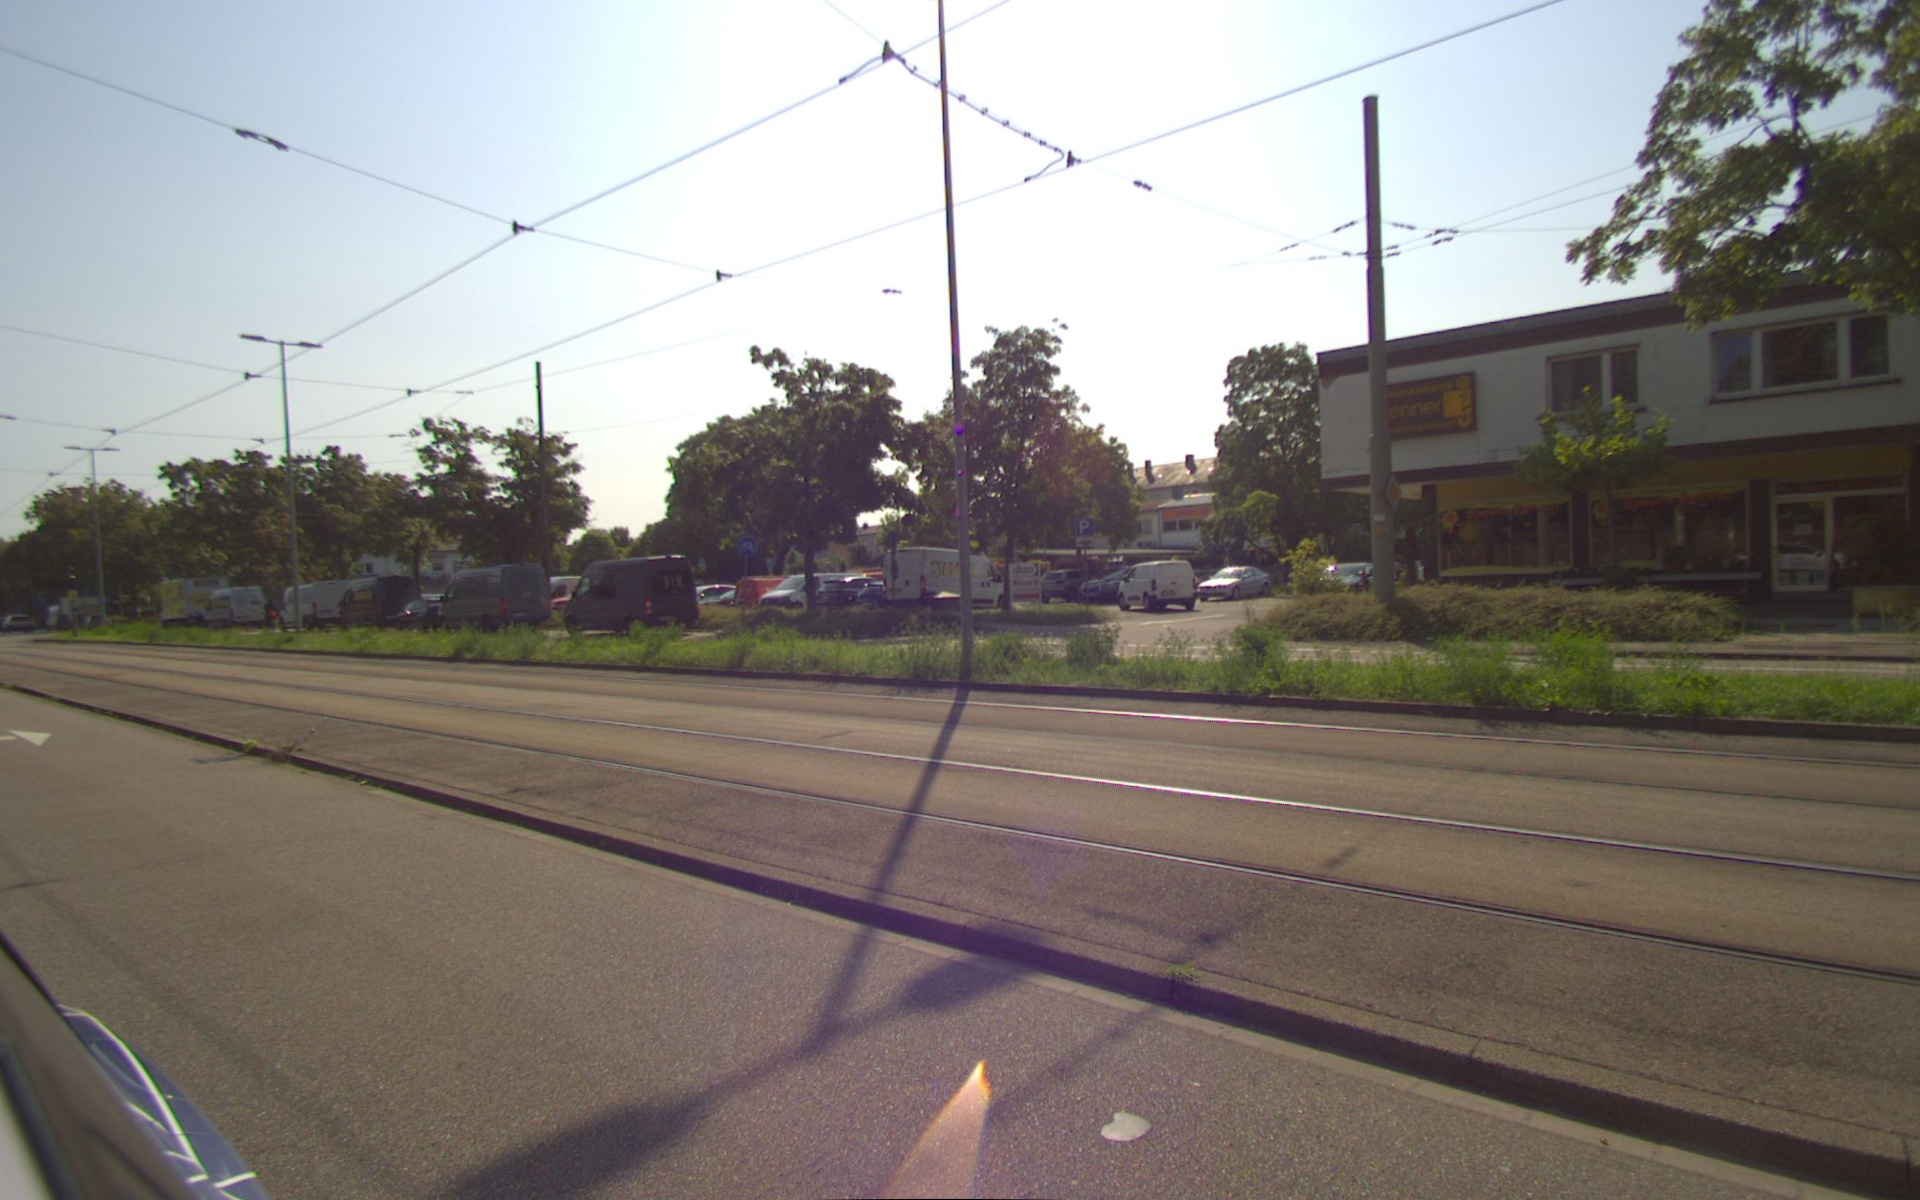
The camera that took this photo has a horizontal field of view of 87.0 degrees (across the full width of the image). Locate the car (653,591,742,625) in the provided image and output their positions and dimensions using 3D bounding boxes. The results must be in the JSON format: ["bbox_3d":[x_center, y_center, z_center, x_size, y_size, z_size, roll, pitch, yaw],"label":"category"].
[{"bbox_3d":[-12.625,0.371,48.908,1.620,1.474,4.123,-2,0,33],"label":"car"}]

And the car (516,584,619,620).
[{"bbox_3d":[-22.390,0.077,57.906,2.050,1.940,5.134,-1,0,39],"label":"car"}]

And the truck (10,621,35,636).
[{"bbox_3d":[-107.893,3.269,116.442,3.653,1.687,1.670,-1,0,41],"label":"truck"}]

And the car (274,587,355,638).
[{"bbox_3d":[-34.476,0.670,53.969,5.628,2.605,2.110,-1,0,41],"label":"car"}]

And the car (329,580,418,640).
[{"bbox_3d":[-28.222,0.509,48.605,5.907,2.605,1.803,-2,2,42],"label":"car"}]

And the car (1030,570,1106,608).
[{"bbox_3d":[5.435,-0.562,50.583,3.759,1.782,1.759,-1,0,-45],"label":"car"}]

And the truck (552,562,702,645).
[{"bbox_3d":[-11.308,0.137,34.158,5.734,2.567,2.060,-1,0,40],"label":"truck"}]

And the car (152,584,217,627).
[{"bbox_3d":[-53.044,0.410,69.130,7.227,2.826,2.102,-1,0,41],"label":"car"}]

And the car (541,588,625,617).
[{"bbox_3d":[-20.583,0.138,55.361,1.856,1.462,3.947,-1,0,40],"label":"car"}]

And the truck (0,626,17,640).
[{"bbox_3d":[-116.184,4.023,123.182,3.653,1.687,1.670,-1,0,41],"label":"truck"}]

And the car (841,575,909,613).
[{"bbox_3d":[-5.099,-0.376,61.044,1.801,2.113,3.949,-1,2,38],"label":"car"}]

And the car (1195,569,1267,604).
[{"bbox_3d":[11.883,-0.590,44.221,1.491,1.353,3.492,-2,1,44],"label":"car"}]

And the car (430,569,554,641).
[{"bbox_3d":[-18.864,0.194,40.580,6.464,2.605,1.968,-1,3,42],"label":"car"}]

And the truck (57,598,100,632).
[{"bbox_3d":[-85.260,1.435,97.793,8.787,3.145,2.248,-1,0,43],"label":"truck"}]

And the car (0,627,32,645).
[{"bbox_3d":[-85.853,3.241,91.980,3.949,1.531,1.904,-1,0,43],"label":"car"}]

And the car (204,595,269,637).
[{"bbox_3d":[-45.292,0.982,63.309,4.827,2.477,2.122,-1,0,39],"label":"car"}]

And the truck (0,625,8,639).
[{"bbox_3d":[-122.009,4.094,128.206,3.653,1.687,1.670,-1,0,41],"label":"truck"}]

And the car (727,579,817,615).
[{"bbox_3d":[-8.436,-0.142,45.671,1.631,1.530,3.885,-1,0,39],"label":"car"}]

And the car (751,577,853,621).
[{"bbox_3d":[-6.715,-0.051,43.473,1.631,1.798,4.355,-1,0,39],"label":"car"}]

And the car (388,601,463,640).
[{"bbox_3d":[-23.640,0.902,44.712,3.833,1.563,1.726,-1,2,43],"label":"car"}]

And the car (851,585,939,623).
[{"bbox_3d":[-2.554,0.134,40.206,1.631,1.437,3.371,-1,0,39],"label":"car"}]

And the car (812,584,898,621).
[{"bbox_3d":[-4.305,0.106,41.687,1.631,1.437,3.371,-1,0,39],"label":"car"}]

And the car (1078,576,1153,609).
[{"bbox_3d":[7.367,-0.373,47.778,3.662,1.353,1.492,-3,1,-42],"label":"car"}]

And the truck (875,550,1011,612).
[{"bbox_3d":[-0.562,-0.723,38.824,2.257,2.189,5.436,-1,0,39],"label":"truck"}]

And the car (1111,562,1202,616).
[{"bbox_3d":[7.257,-0.399,37.925,1.959,1.771,4.427,-3,1,-7],"label":"car"}]
